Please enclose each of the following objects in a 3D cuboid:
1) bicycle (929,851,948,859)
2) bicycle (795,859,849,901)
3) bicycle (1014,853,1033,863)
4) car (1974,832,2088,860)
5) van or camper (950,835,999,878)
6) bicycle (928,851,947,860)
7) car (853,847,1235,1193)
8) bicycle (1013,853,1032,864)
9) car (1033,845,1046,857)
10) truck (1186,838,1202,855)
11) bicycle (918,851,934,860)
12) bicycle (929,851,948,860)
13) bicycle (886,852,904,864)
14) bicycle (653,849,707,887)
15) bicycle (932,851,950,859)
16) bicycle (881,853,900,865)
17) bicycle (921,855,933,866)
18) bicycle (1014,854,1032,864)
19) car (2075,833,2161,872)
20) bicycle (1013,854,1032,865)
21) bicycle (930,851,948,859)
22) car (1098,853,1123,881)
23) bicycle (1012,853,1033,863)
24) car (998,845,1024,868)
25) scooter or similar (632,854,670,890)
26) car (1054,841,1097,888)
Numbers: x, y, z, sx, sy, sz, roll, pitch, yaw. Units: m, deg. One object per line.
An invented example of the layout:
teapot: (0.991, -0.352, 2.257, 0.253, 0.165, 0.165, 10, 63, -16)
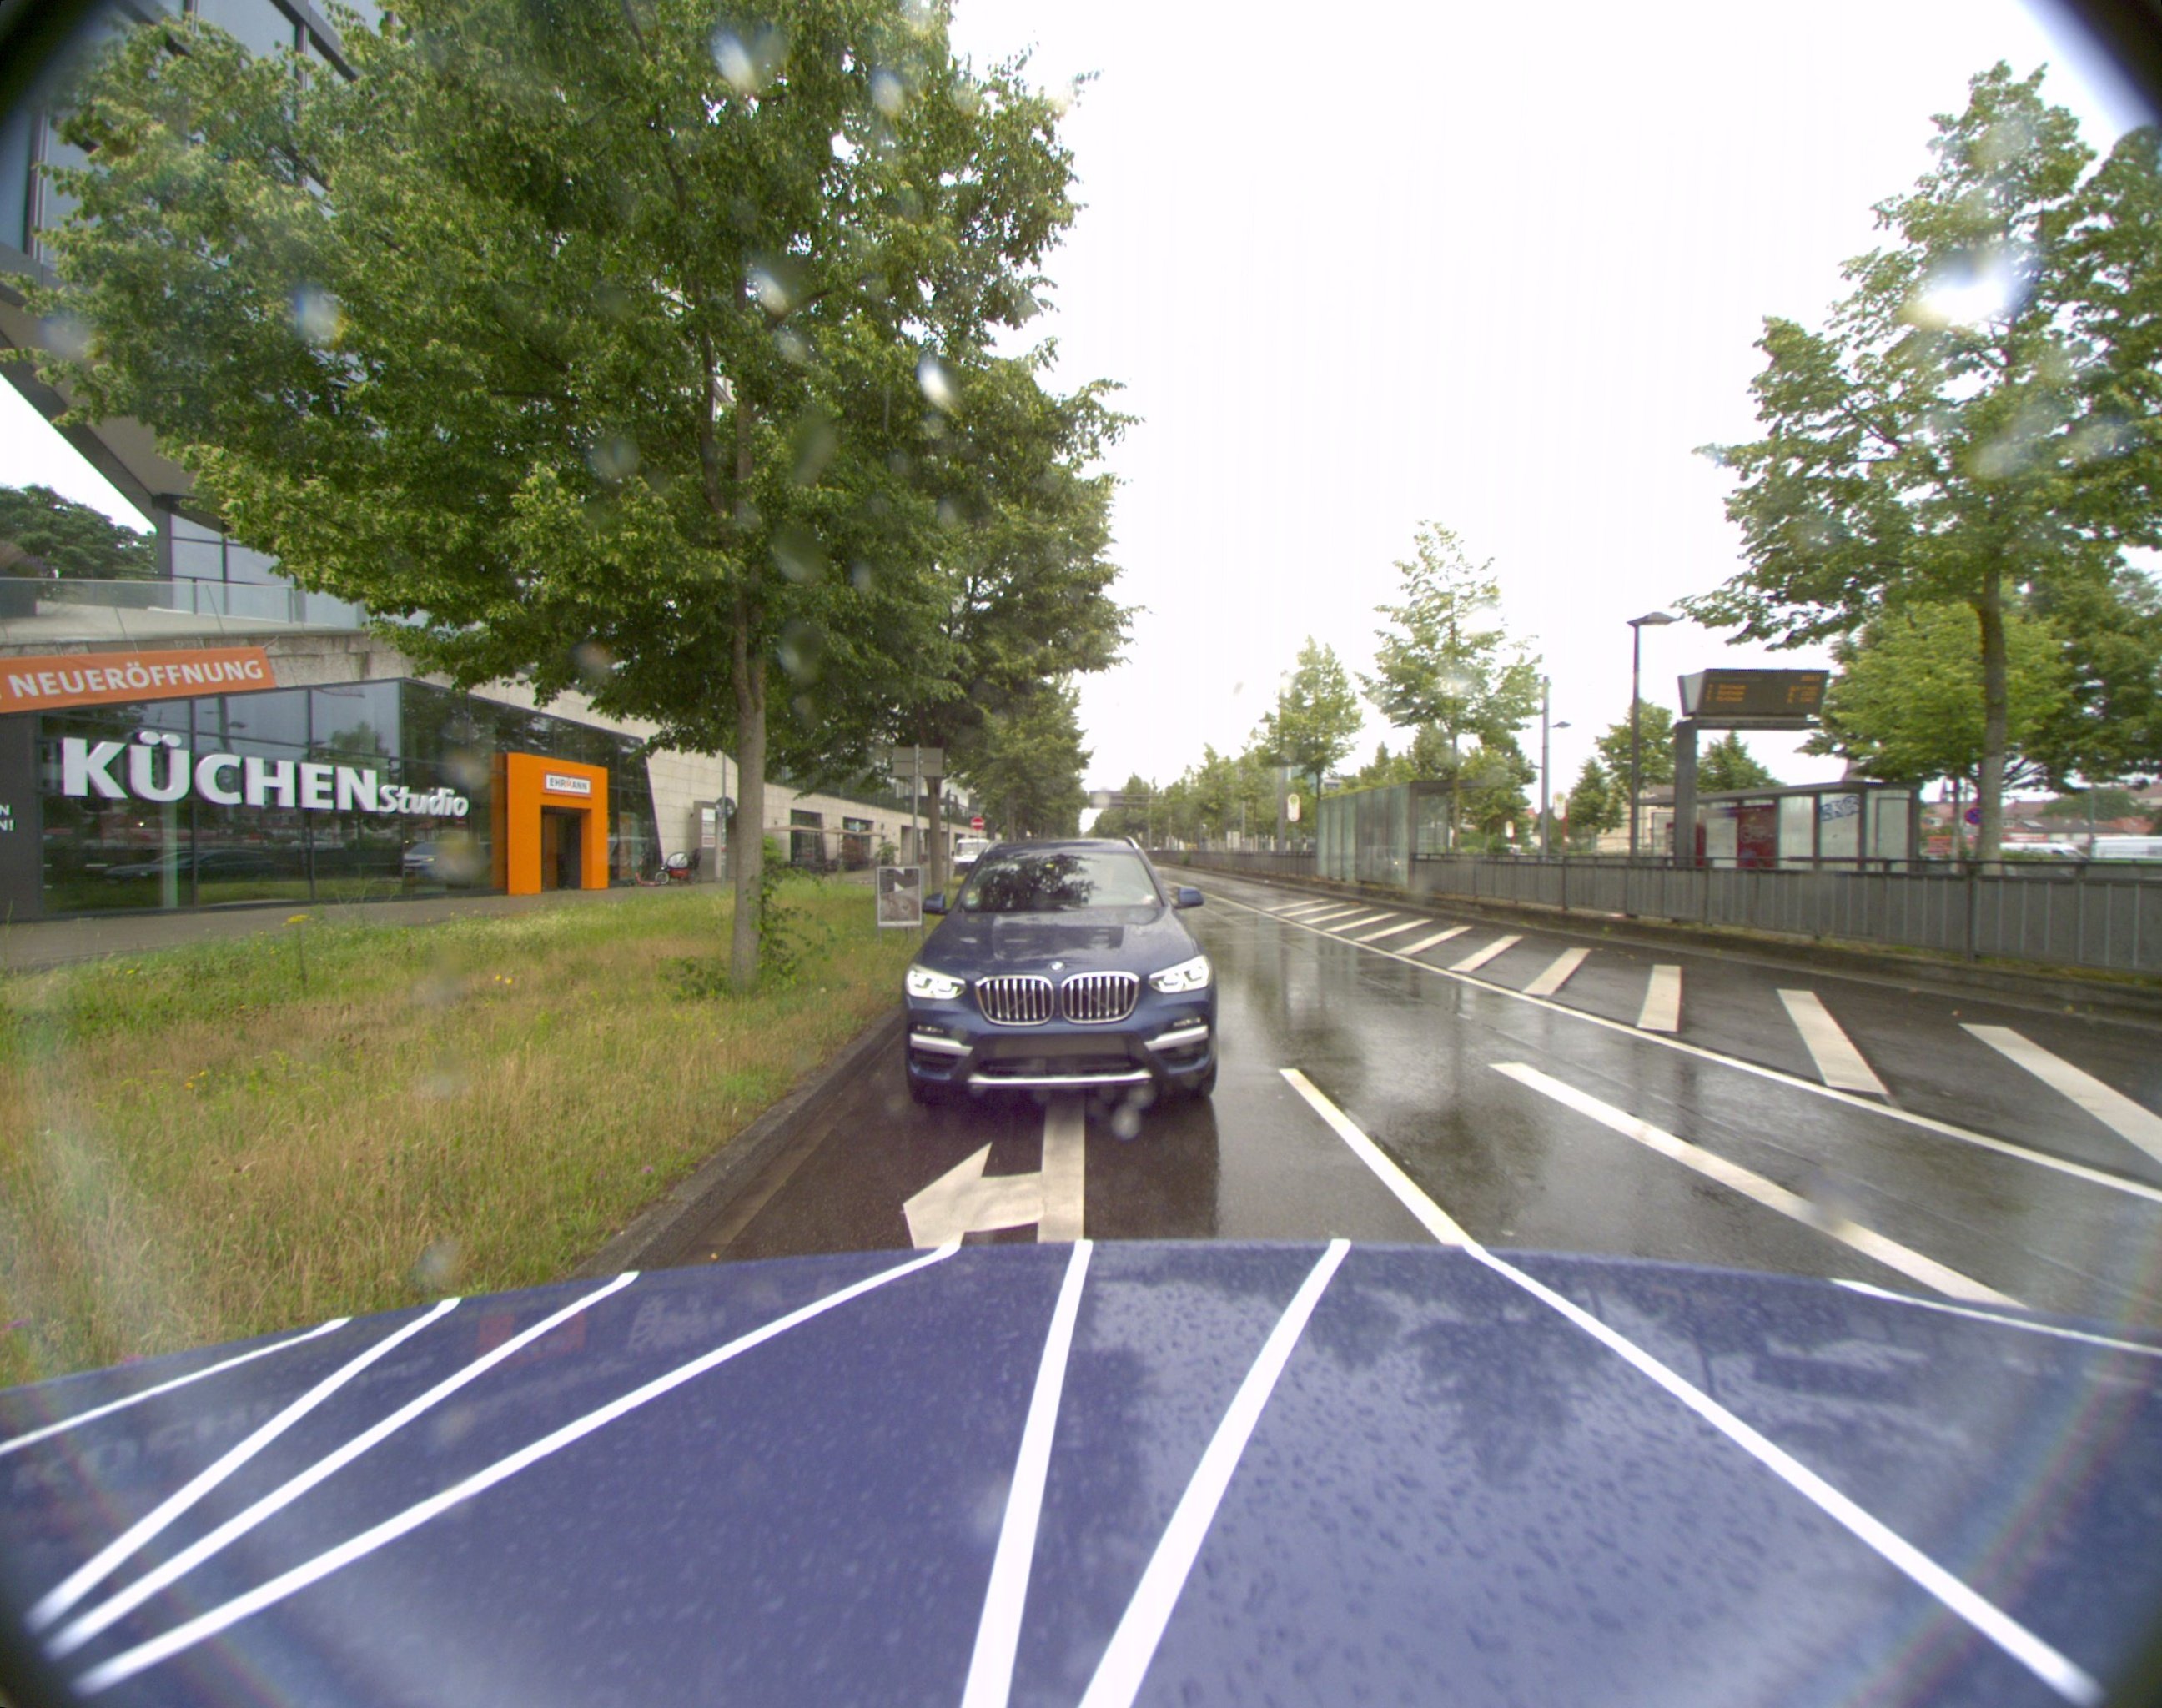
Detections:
bicycle: (-15.909, 0.121, 84.826, 2.029, 0.940, 0.395, 1, 1, -4)
bicycle: (-8.612, 0.858, 25.272, 1.843, 1.338, 0.533, -1, 0, 26)
bicycle: (-5.736, 0.415, 75.479, 1.882, 0.940, 0.395, -2, 2, -4)
car: (84.243, -0.760, 67.562, 2.000, 2.293, 6.138, -3, 1, -9)
van or camper: (-5.982, 0.094, 43.380, 2.030, 2.279, 5.458, -1, 1, 0)
bicycle: (-15.798, 0.135, 83.580, 2.029, 0.940, 0.395, 1, 1, -4)
car: (-0.148, 0.807, 5.737, 1.816, 1.603, 3.999, -2, 1, 1)
bicycle: (-5.736, 0.428, 74.917, 1.862, 0.940, 0.395, -2, 2, -4)
car: (-6.035, -0.464, 111.442, 1.659, 1.711, 3.999, -2, 1, 0)
truck: (26.511, -1.729, 178.824, 2.693, 3.756, 9.182, -2, 1, 3)
bicycle: (-16.271, 0.187, 79.867, 1.657, 0.940, 0.347, 1, 2, 19)
bicycle: (-15.843, 0.128, 84.235, 2.029, 0.940, 0.395, 1, 1, -4)
bicycle: (-15.190, 0.369, 61.995, 0.396, 0.940, 2.024, -4, 2, -45)
bicycle: (-15.472, 0.504, 29.421, 0.734, 1.394, 2.425, 1, 0, 1)
bicycle: (-15.989, 0.092, 86.653, 2.029, 0.940, 0.395, 1, 1, -4)
bicycle: (-15.384, 0.390, 61.323, 0.396, 0.940, 2.024, -4, 2, -45)
bicycle: (-12.968, 0.535, 64.093, 0.402, 0.940, 1.859, -1, 1, 8)
bicycle: (-5.622, 0.462, 73.645, 1.649, 0.940, 0.395, -2, 2, -4)
car: (70.119, -0.135, 49.354, 1.999, 2.448, 6.744, -2, 1, -4)
bicycle: (-5.616, 0.497, 72.953, 1.699, 0.940, 0.395, -2, 2, -4)
bicycle: (-15.957, 0.101, 85.402, 2.029, 0.940, 0.395, 1, 1, -4)
car: (2.595, 1.106, 67.115, 1.998, 2.232, 3.999, -2, 1, 1)
bicycle: (-5.912, 0.404, 76.381, 2.040, 0.940, 0.395, -2, 2, -4)
car: (-5.678, 0.152, 62.228, 1.746, 1.749, 4.847, -1, 1, 0)
scooter or similar: (-15.644, 0.638, 27.660, 0.342, 1.221, 1.242, -2, 2, 19)
car: (-0.238, 0.473, 38.842, 1.998, 2.232, 3.999, -2, 1, 1)
